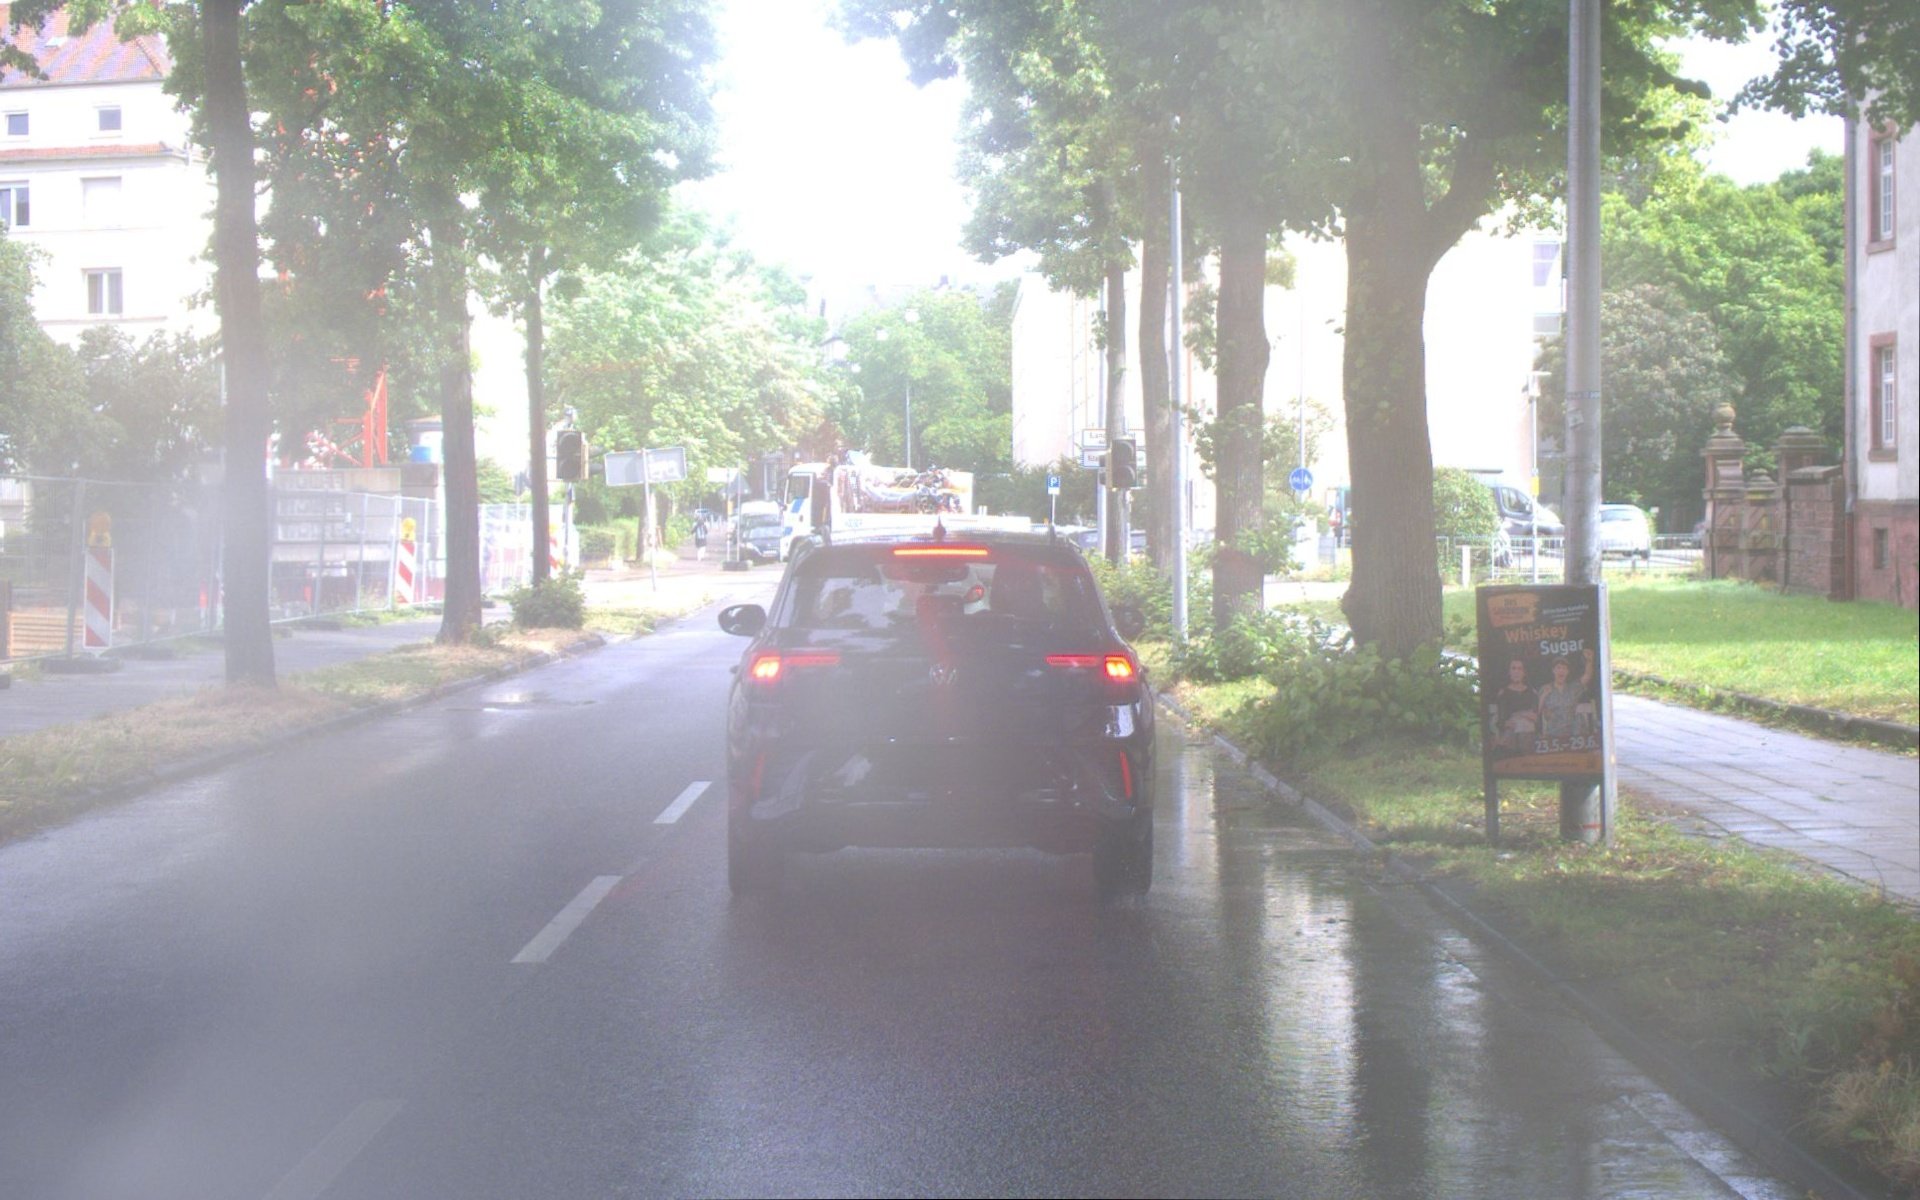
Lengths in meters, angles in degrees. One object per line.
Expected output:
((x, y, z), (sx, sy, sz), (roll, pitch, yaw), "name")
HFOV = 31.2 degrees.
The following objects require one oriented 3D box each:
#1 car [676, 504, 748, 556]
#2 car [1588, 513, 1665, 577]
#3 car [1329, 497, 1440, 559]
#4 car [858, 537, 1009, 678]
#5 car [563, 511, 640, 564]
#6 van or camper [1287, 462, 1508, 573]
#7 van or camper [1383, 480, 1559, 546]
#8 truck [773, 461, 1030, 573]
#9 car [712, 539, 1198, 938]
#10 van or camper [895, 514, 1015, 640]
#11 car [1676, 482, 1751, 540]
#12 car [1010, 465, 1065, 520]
((-7.920, -2.254, 110.015), (1.591, 1.507, 3.731), (-3, 2, 6), "car")
((18.825, -1.573, 97.213), (1.743, 1.678, 3.869), (-3, 1, 6), "car")
((13.717, -2.332, 111.107), (3.408, 1.775, 1.759), (-3, 1, 9), "car")
((-0.305, 0.066, 45.461), (1.680, 1.702, 3.909), (-3, 1, 3), "car")
((-11.258, -1.967, 108.024), (1.591, 1.507, 3.731), (-3, 2, 6), "car")
((10.628, -2.011, 83.799), (5.032, 2.587, 2.168), (-1, 1, -1), "van or camper")
((15.031, -2.579, 101.339), (4.875, 1.919, 2.131), (0, 2, 1), "van or camper")
((-1.562, -2.147, 85.785), (2.805, 2.647, 8.242), (-1, 3, -30), "truck")
((-0.039, 0.506, 15.427), (1.894, 1.517, 4.000), (0, 2, -1), "car")
((-0.044, -0.412, 55.645), (1.819, 1.941, 4.195), (0, 2, 1), "van or camper")
((25.920, -3.075, 118.371), (1.867, 1.850, 3.809), (-3, 1, 4), "car")
((2.908, -4.039, 129.517), (1.993, 2.007, 4.000), (-1, 1, 0), "car")
